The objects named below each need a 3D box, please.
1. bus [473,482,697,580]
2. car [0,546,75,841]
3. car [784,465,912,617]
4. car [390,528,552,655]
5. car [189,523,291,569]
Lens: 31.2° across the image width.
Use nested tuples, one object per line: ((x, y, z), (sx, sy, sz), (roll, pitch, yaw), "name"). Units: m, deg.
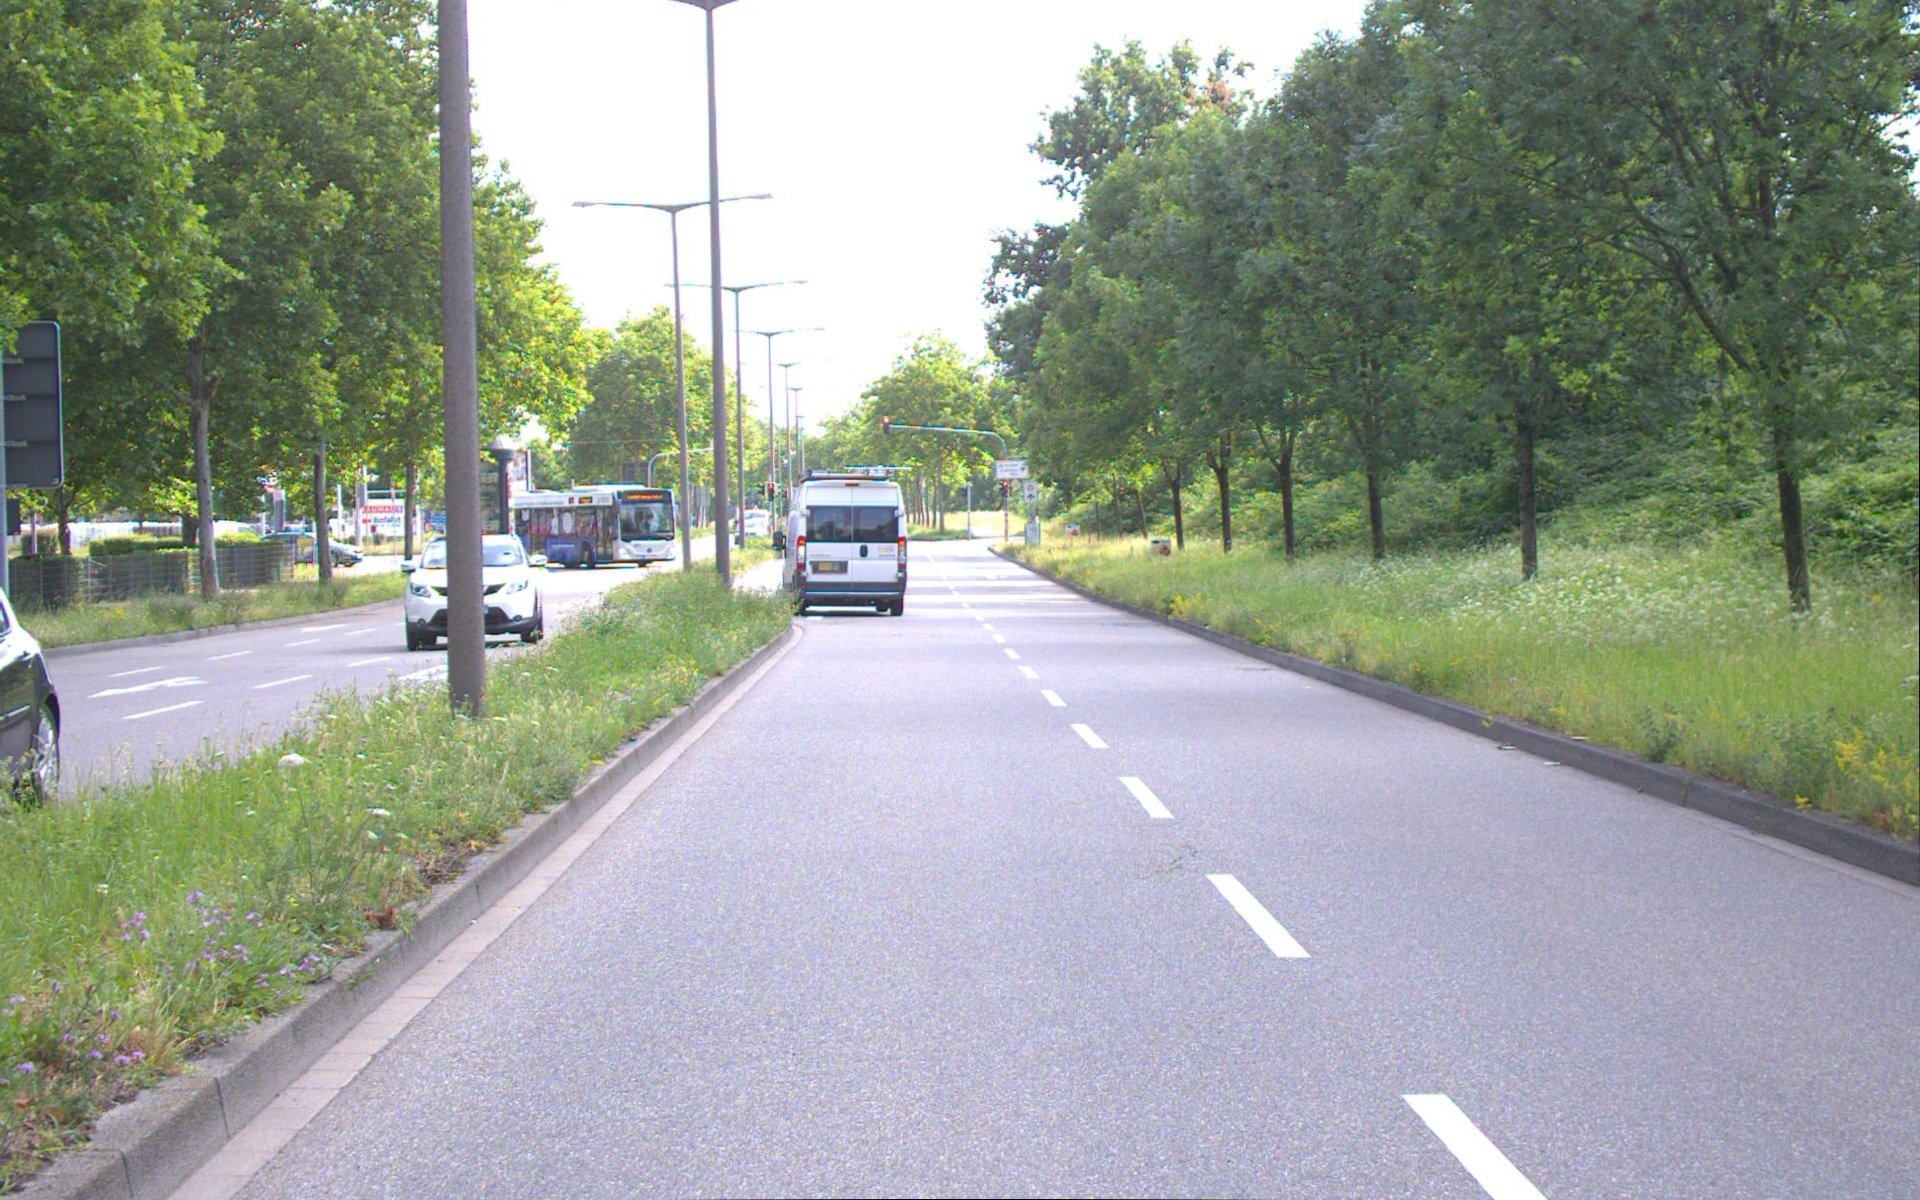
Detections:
((-14.511, -2.581, 131.837), (3.110, 3.263, 12.336), (-3, 1, -33), "bus")
((-5.601, 0.491, 16.711), (1.694, 1.459, 3.941), (-2, 0, -3), "car")
((-2.134, -1.072, 64.193), (2.197, 2.717, 4.932), (0, 0, -4), "car")
((-6.891, -0.155, 48.849), (1.813, 1.634, 4.352), (-3, 1, -3), "car")
((-31.608, -2.357, 150.947), (3.988, 1.832, 1.864), (2, -3, -40), "car")
